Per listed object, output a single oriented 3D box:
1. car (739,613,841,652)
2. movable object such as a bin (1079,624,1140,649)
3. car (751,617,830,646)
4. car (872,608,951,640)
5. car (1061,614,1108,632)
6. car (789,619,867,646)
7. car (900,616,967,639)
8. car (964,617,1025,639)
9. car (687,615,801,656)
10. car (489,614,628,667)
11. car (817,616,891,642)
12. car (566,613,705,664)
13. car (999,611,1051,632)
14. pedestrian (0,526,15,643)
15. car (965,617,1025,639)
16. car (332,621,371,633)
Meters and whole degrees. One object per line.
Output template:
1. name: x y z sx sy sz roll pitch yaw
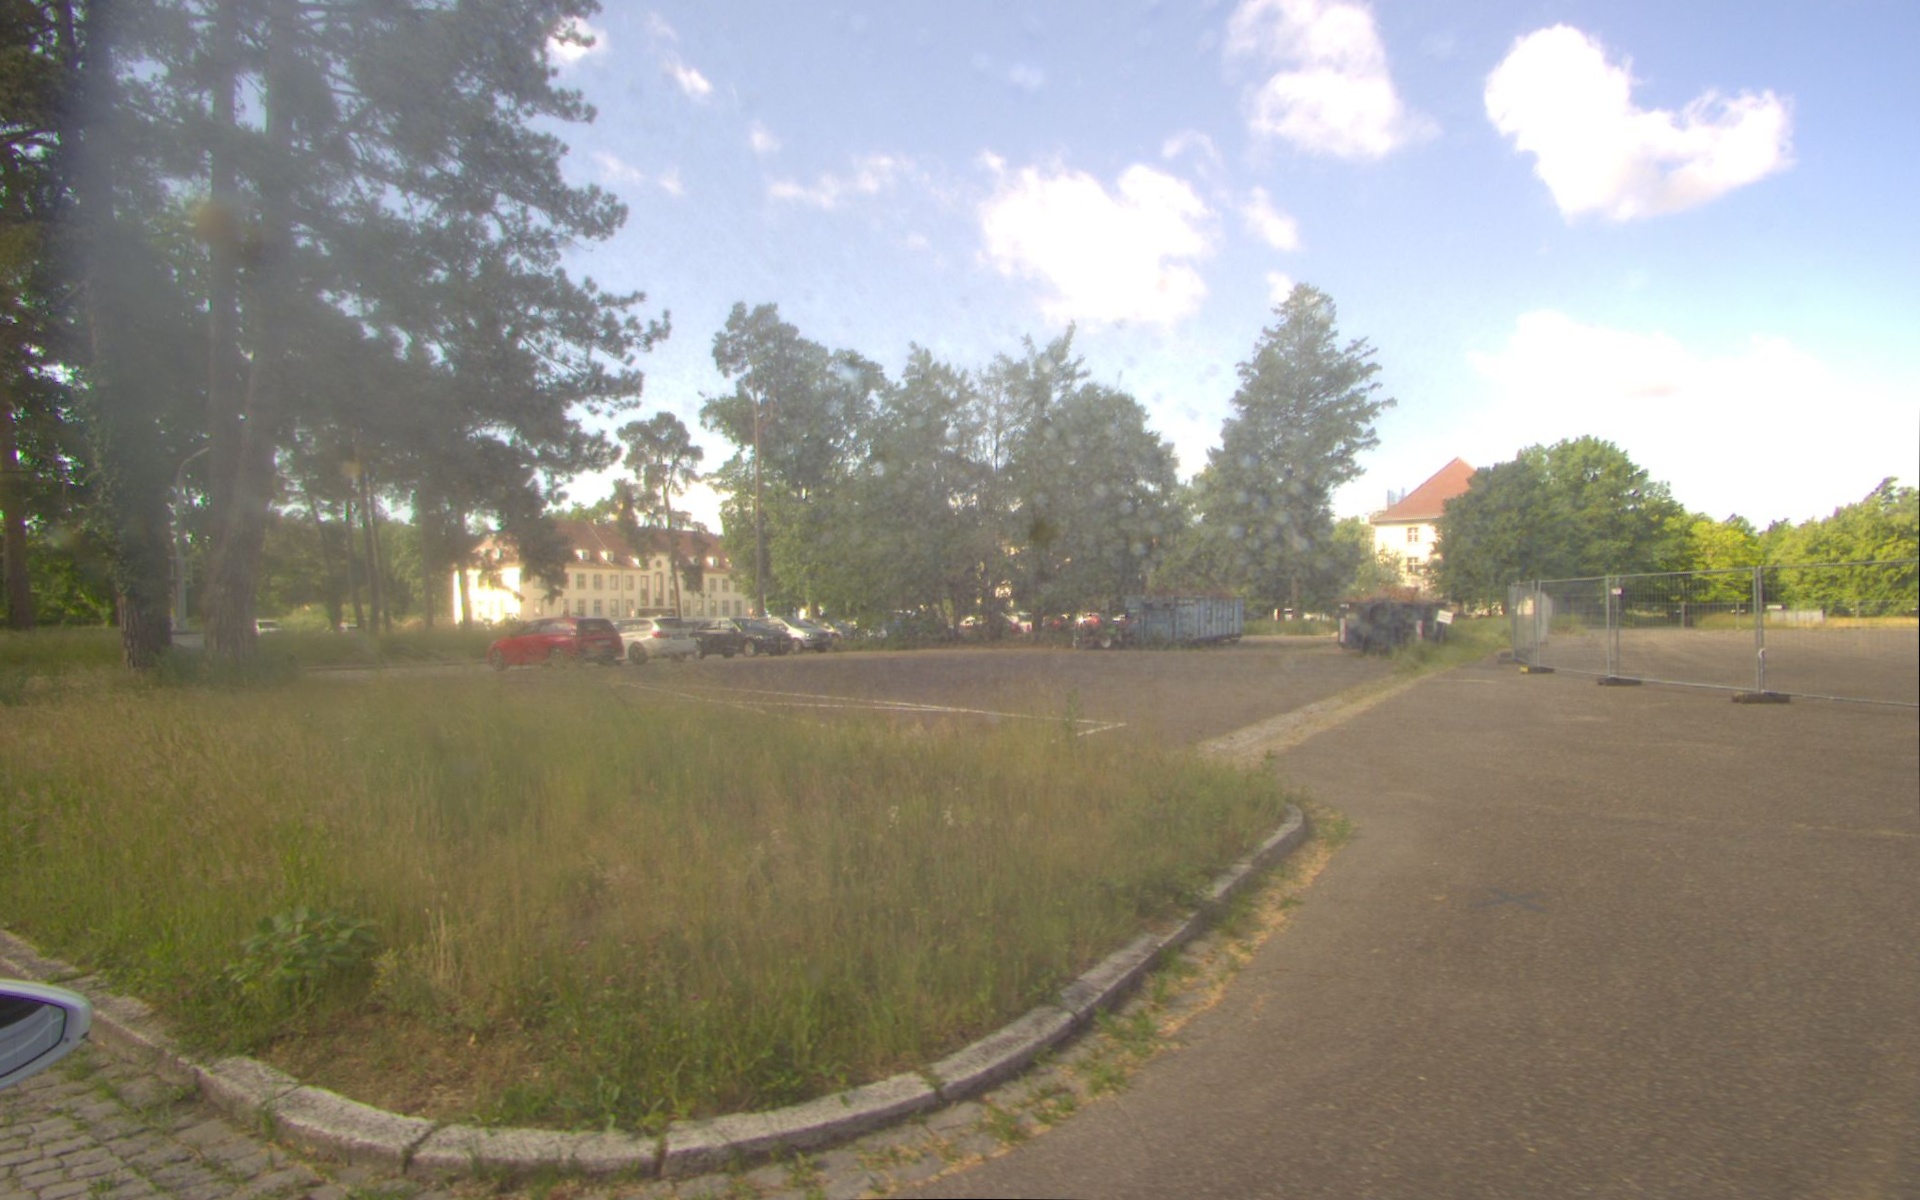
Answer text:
1. car: -6.523 1.239 38.305 3.740 1.390 1.720 -1 -2 34
2. movable object such as a bin: 4.828 1.179 32.307 1.697 0.762 1.143 -1 -1 26
3. car: -9.201 1.726 54.359 4.181 1.512 1.721 -1 -2 33
4. car: -3.078 1.519 63.085 4.677 1.972 1.982 -1 -2 33
5. car: 10.699 2.010 86.335 3.682 1.568 1.705 -1 -2 33
6. car: -7.401 1.820 56.051 4.181 1.443 1.721 -1 -2 33
7. car: -1.729 1.822 65.387 4.181 1.443 1.721 -1 -2 33
8. car: 2.530 2.061 73.169 4.181 1.568 1.721 -1 -2 33
9. car: -7.727 1.247 35.714 3.988 1.332 1.612 -1 0 33
10. car: -11.526 1.185 28.670 4.072 1.416 1.653 -2 -2 33
11. car: -6.268 1.720 58.899 4.181 1.487 1.721 -1 -2 33
12. car: -10.121 1.204 31.174 4.180 1.396 1.776 -3 -2 31
13. car: 4.918 1.666 76.094 3.640 1.568 1.705 -1 -2 33
14. pedestrian: -15.401 -0.242 15.273 1.154 1.820 1.058 -1 1 -28
15. car: 2.545 2.060 73.160 4.181 1.568 1.721 -1 -2 33
16. car: -54.603 2.417 89.865 3.951 1.101 1.716 -1 -1 39
